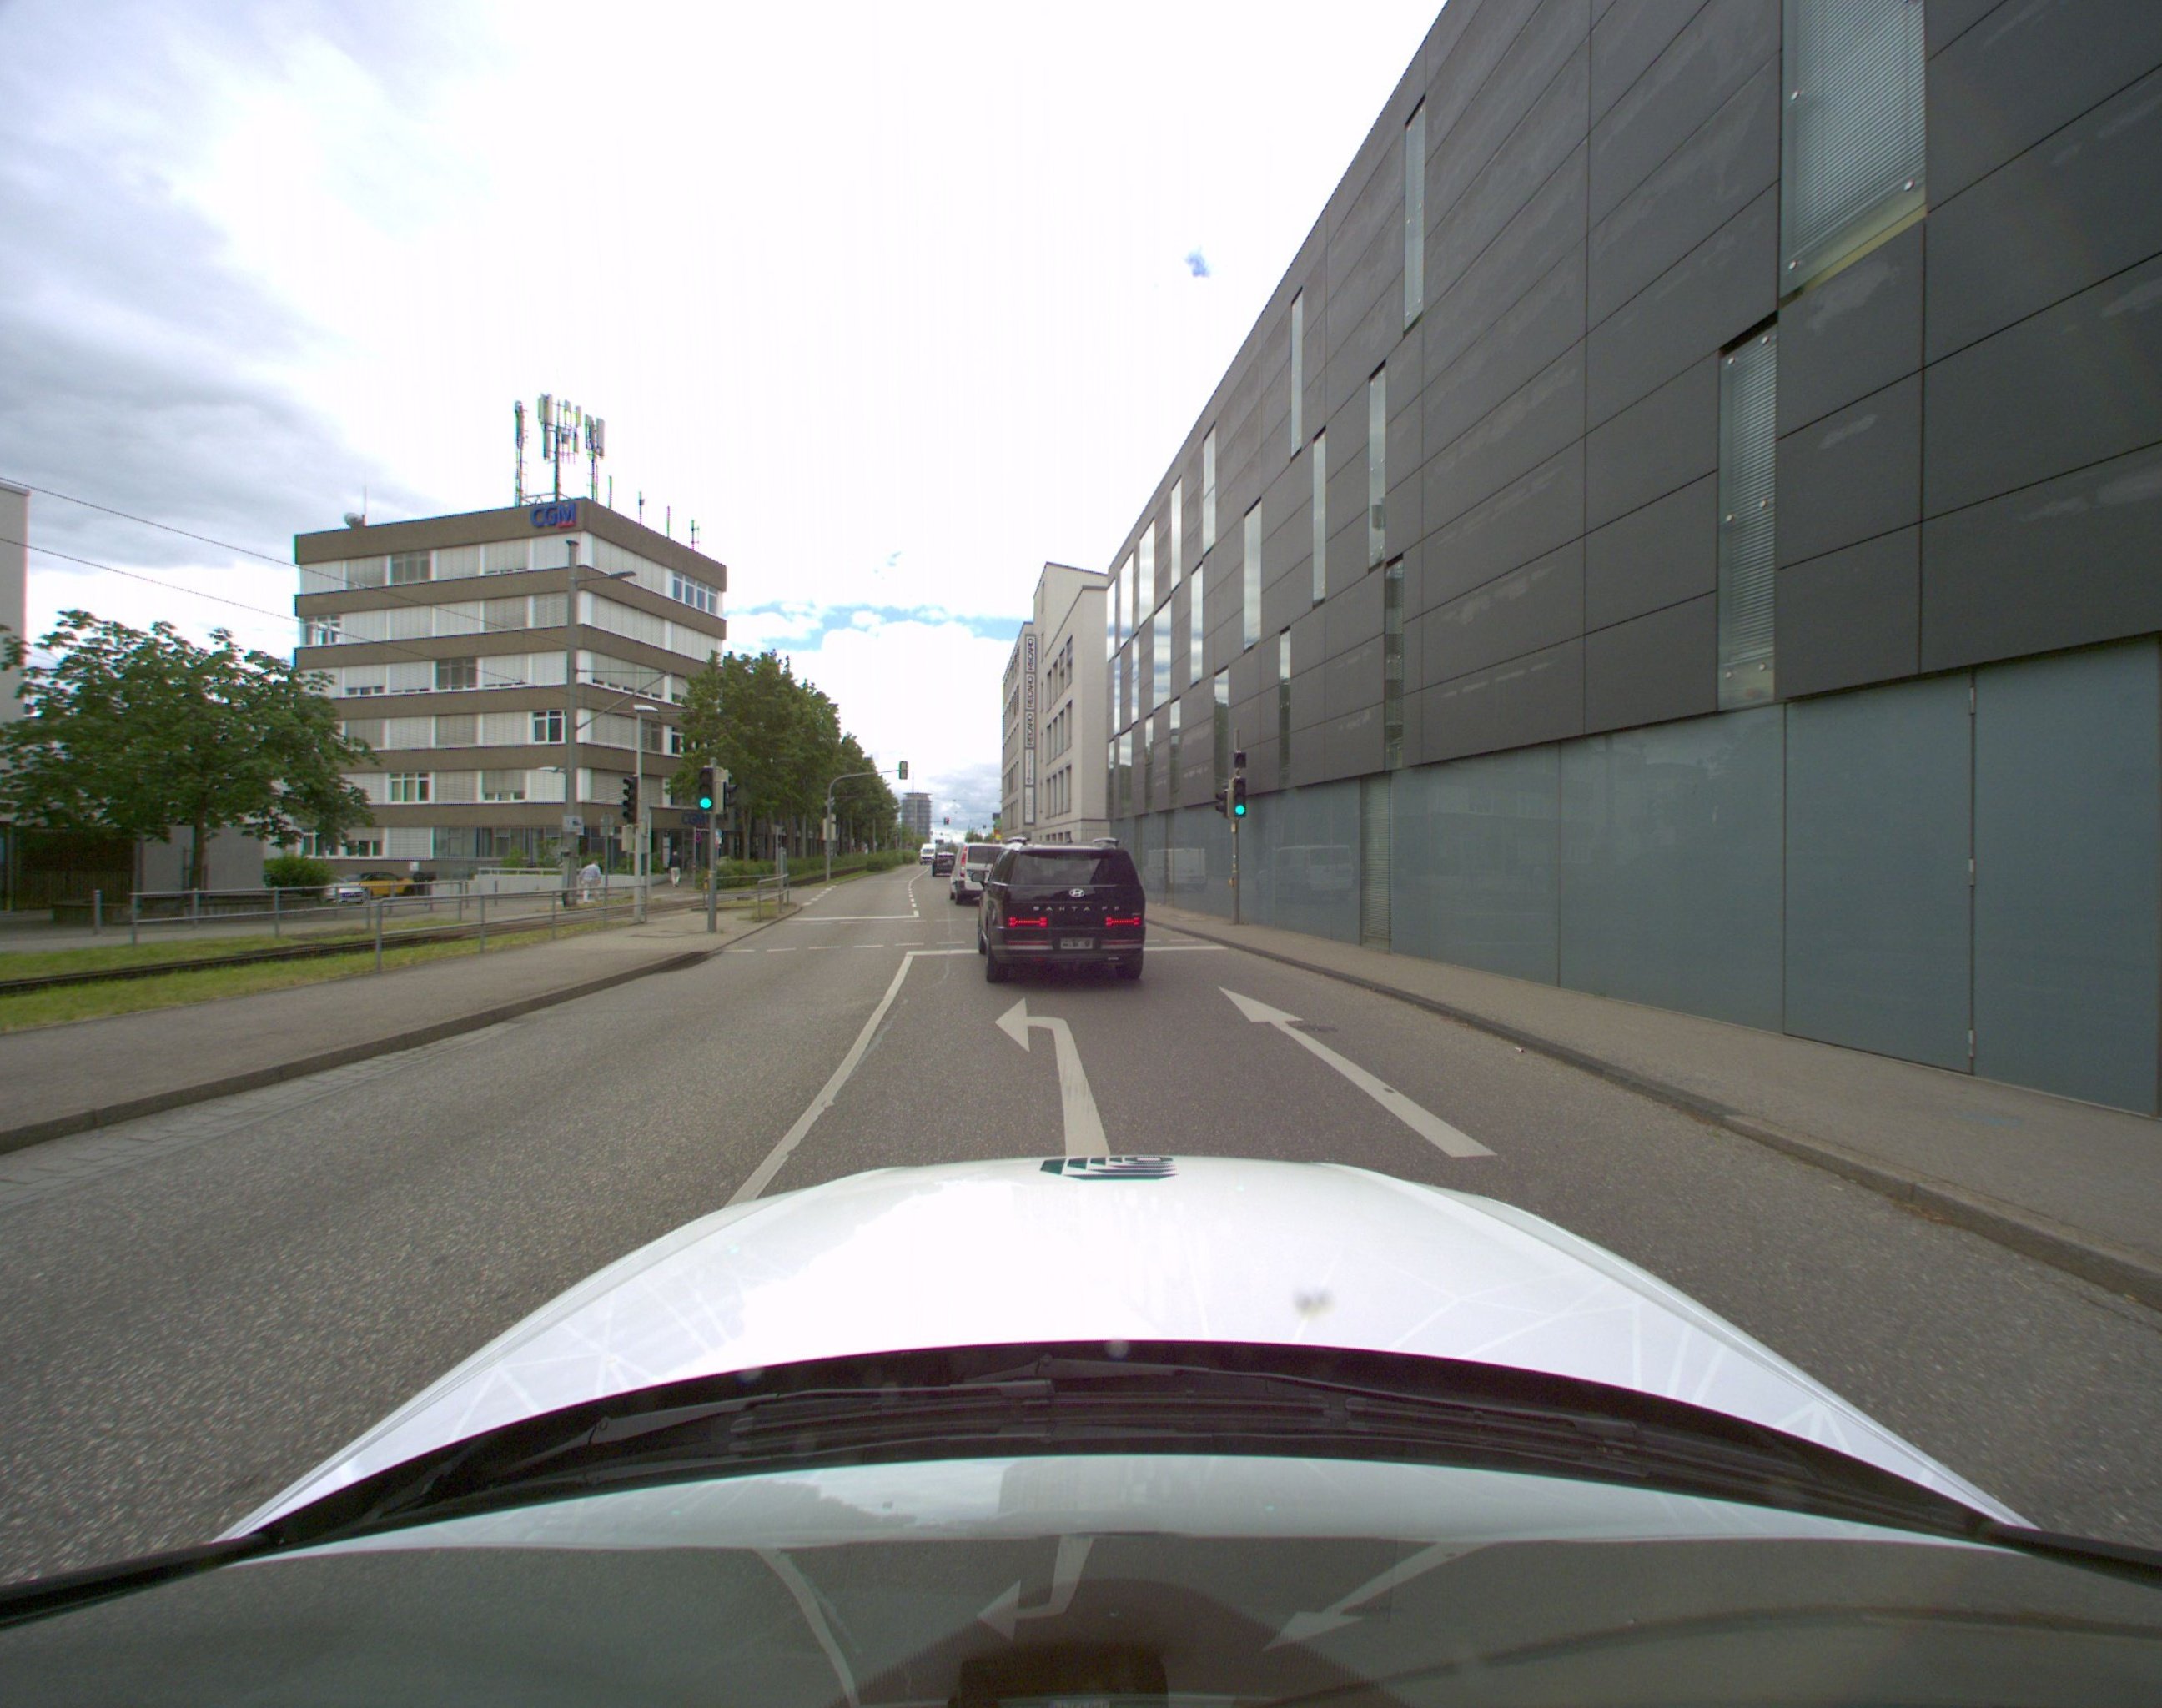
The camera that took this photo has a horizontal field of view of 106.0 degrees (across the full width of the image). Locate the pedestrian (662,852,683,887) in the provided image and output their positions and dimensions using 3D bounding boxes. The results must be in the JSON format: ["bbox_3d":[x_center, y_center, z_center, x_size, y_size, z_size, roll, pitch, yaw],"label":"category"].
[{"bbox_3d":[-20.306,0.785,40.486,0.687,1.705,0.681,-1,0,-8],"label":"pedestrian"}]

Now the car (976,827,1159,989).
[{"bbox_3d":[-0.408,0.607,11.136,1.908,1.749,4.383,1,0,-9],"label":"car"}]

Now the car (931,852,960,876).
[{"bbox_3d":[-9.652,0.686,58.130,1.757,1.609,4.179,0,0,-6],"label":"car"}]

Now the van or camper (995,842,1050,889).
[{"bbox_3d":[-2.664,0.493,35.962,1.993,1.915,4.317,1,0,-10],"label":"van or camper"}]

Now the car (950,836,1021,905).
[{"bbox_3d":[-3.124,0.472,25.851,1.932,1.994,4.518,0,0,-11],"label":"car"}]

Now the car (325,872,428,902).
[{"bbox_3d":[-38.417,1.771,44.521,1.714,1.425,4.012,-2,-1,11],"label":"car"}]

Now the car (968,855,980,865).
[{"bbox_3d":[-16.953,0.951,128.759,1.758,1.609,4.178,0,0,-7],"label":"car"}]

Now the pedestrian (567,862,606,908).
[{"bbox_3d":[-17.302,1.070,28.522,0.848,1.526,0.992,-1,0,-12],"label":"pedestrian"}]

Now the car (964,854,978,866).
[{"bbox_3d":[-14.963,0.853,110.581,1.758,1.609,4.178,0,0,-7],"label":"car"}]

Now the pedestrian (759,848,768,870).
[{"bbox_3d":[-29.199,0.477,74.816,0.681,2.013,0.569,0,0,-10],"label":"pedestrian"}]

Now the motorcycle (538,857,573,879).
[{"bbox_3d":[-29.106,0.785,45.110,1.864,1.199,0.570,0,0,17],"label":"motorcycle"}]

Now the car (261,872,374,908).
[{"bbox_3d":[-31.838,1.491,33.978,3.956,1.359,1.649,-2,-1,16],"label":"car"}]

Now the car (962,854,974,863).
[{"bbox_3d":[-22.651,0.886,163.395,1.672,1.882,3.973,0,0,-20],"label":"car"}]

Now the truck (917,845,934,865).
[{"bbox_3d":[-20.850,0.181,109.360,2.166,2.615,5.775,0,0,-11],"label":"truck"}]
